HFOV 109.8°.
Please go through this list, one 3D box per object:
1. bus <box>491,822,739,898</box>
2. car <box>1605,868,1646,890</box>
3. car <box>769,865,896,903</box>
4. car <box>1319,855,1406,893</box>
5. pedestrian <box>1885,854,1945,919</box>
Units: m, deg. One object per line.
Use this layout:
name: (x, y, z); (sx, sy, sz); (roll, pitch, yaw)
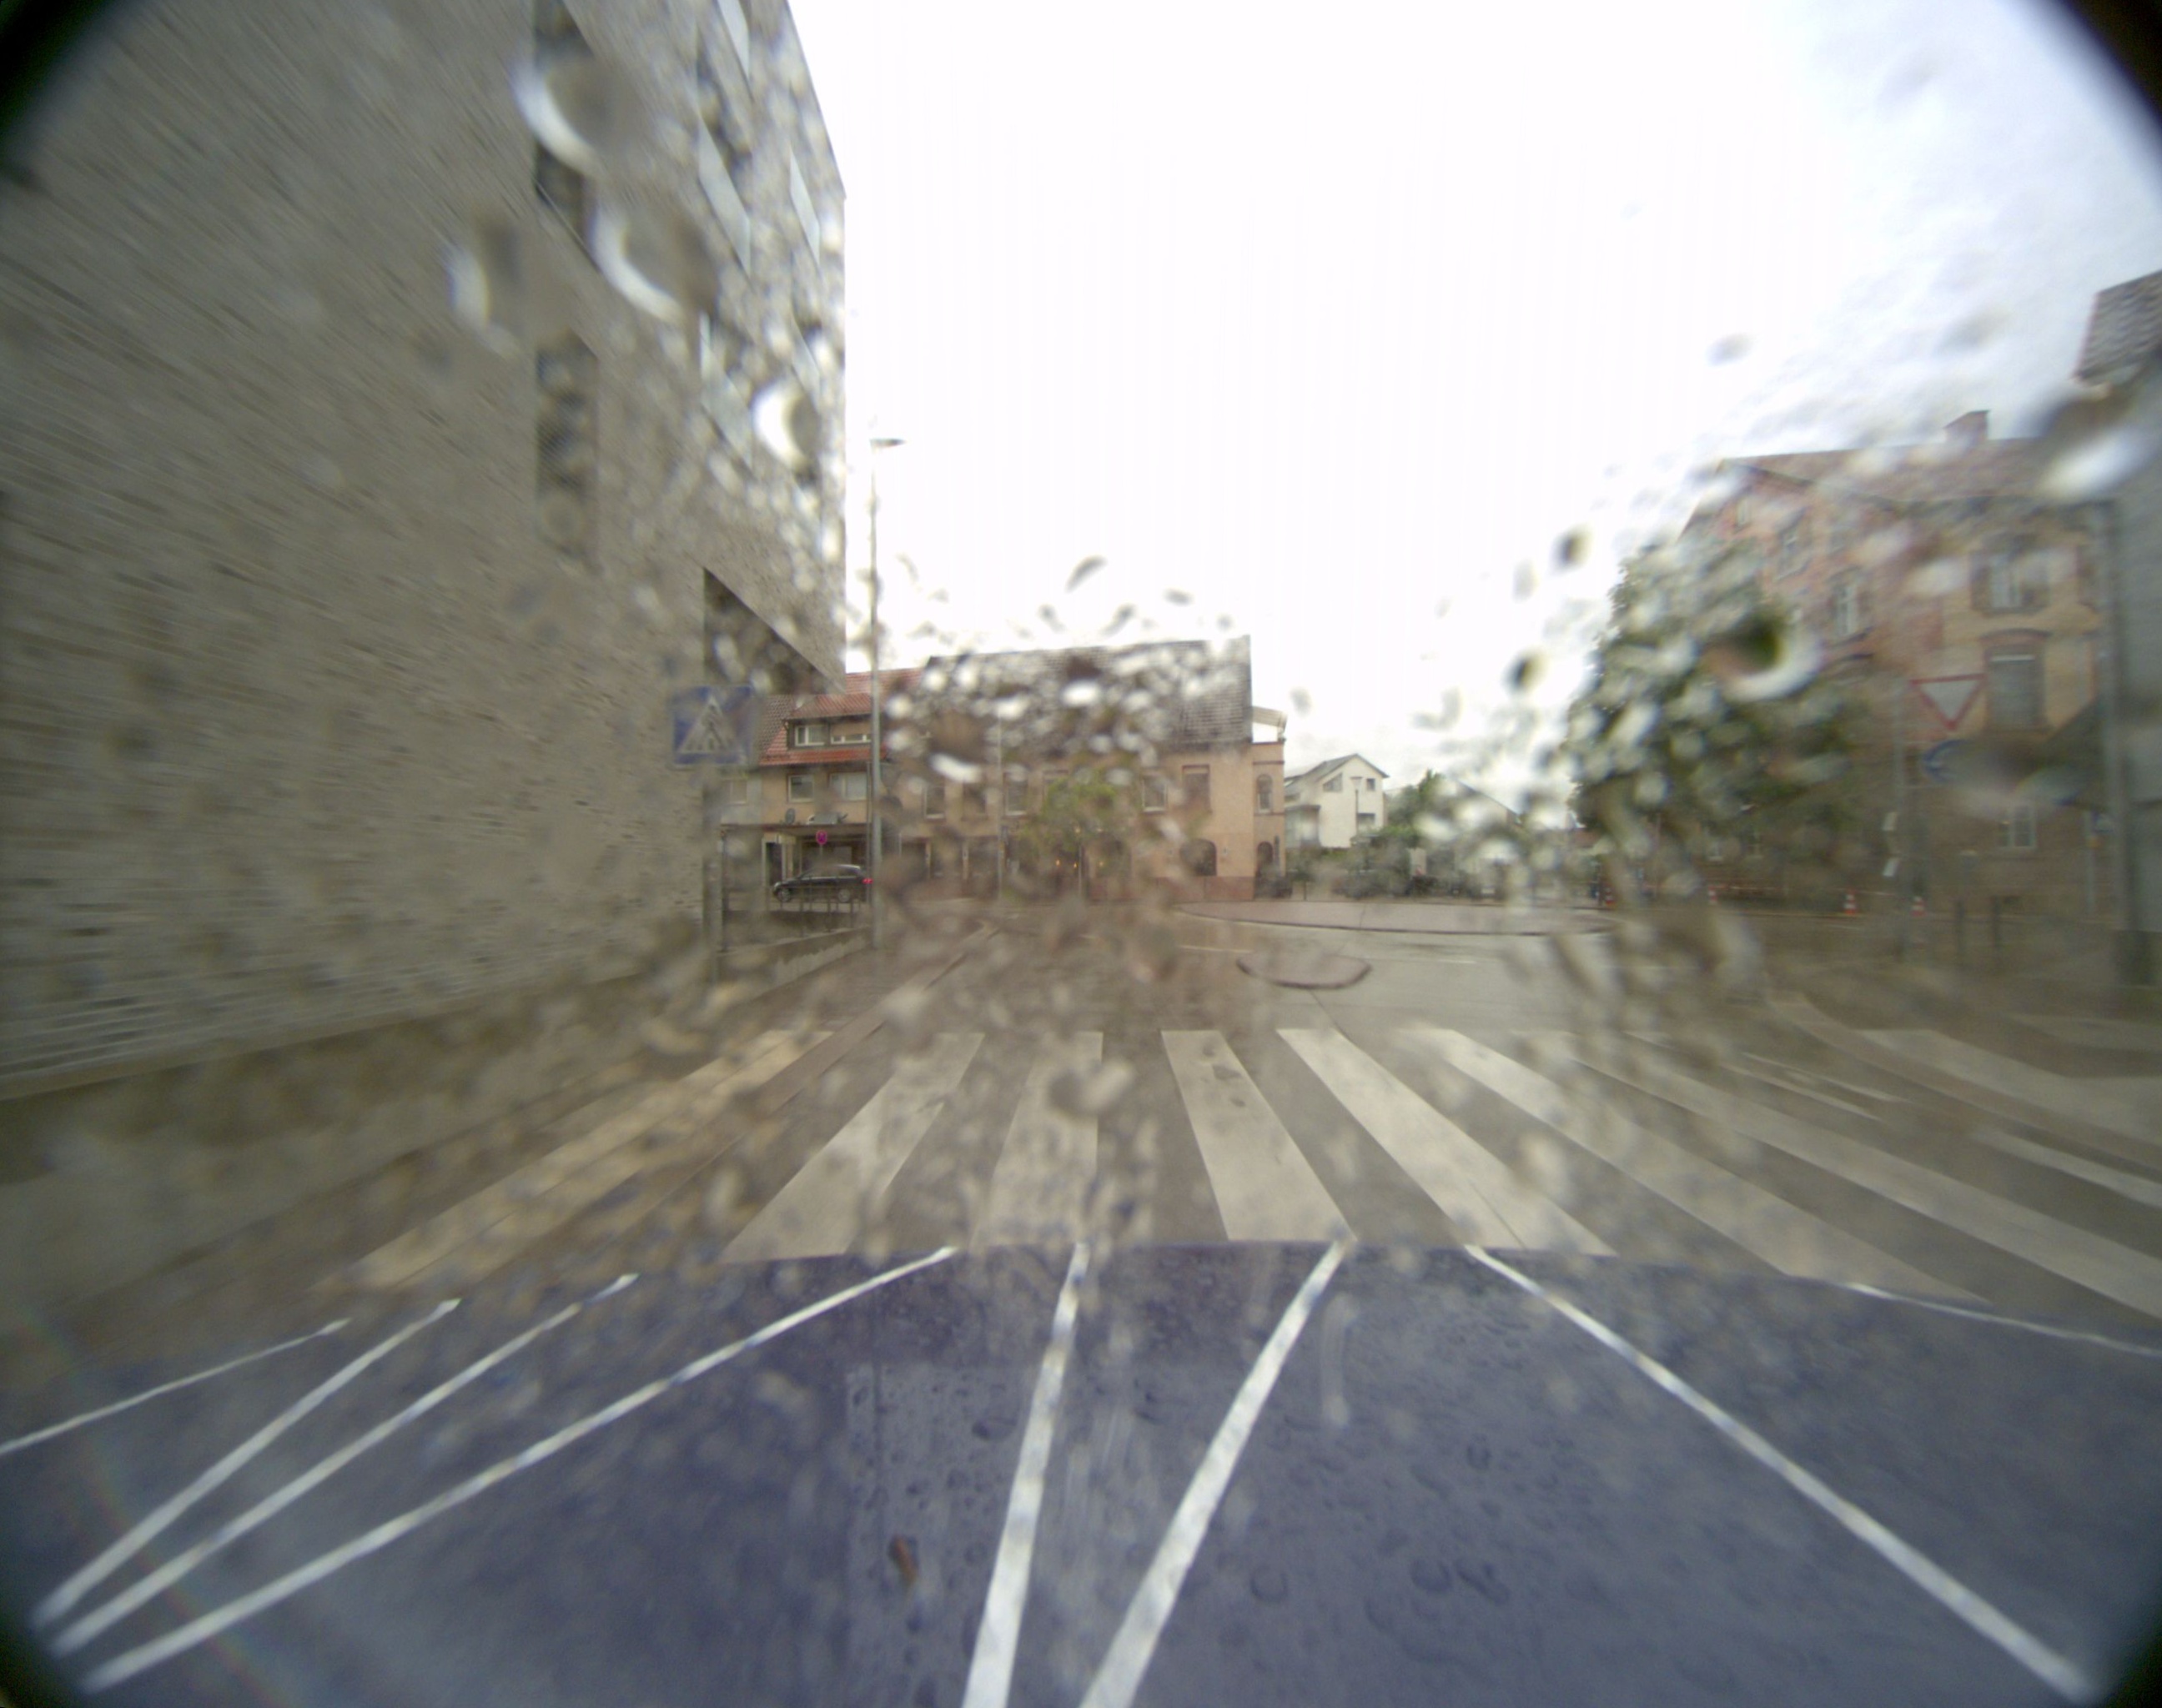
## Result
bus: (-20.610, 0.226, 33.502); (10.923, 3.061, 2.736); (0, 0, 17)
car: (38.914, 1.745, 54.390); (1.869, 1.433, 4.008); (1, 0, 28)
car: (-9.586, 1.139, 29.372); (4.460, 1.422, 1.673); (0, -2, 14)
car: (15.860, 1.093, 43.051); (4.478, 2.002, 2.003); (1, 0, 18)
pedestrian: (24.718, 0.940, 22.538); (0.824, 1.875, 0.843); (1, 1, 7)
